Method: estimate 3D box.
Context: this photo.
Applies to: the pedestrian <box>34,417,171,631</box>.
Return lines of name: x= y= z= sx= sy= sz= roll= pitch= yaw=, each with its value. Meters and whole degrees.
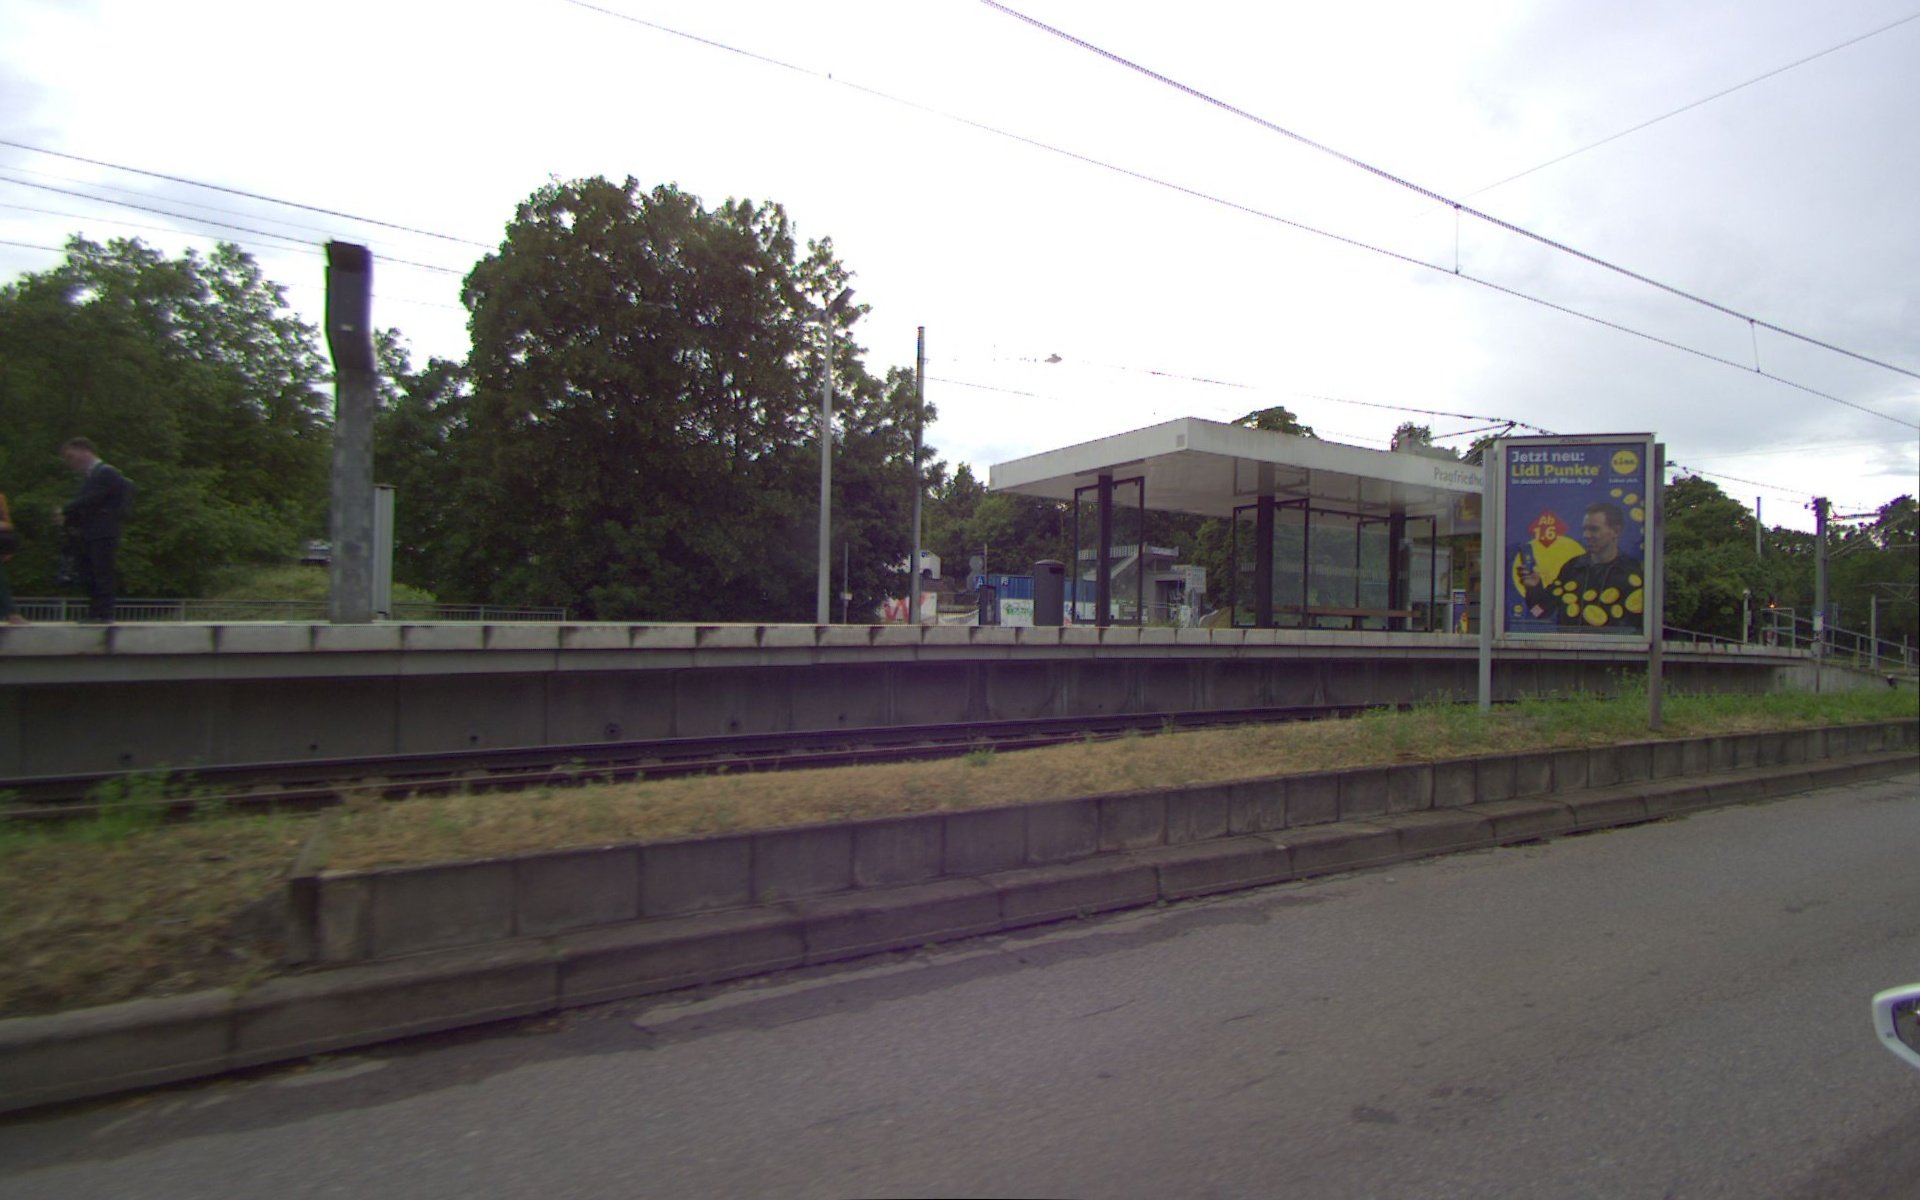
pedestrian: x=-8.267 y=-0.703 z=9.695 sx=0.734 sy=1.935 sz=0.838 roll=2 pitch=2 yaw=38

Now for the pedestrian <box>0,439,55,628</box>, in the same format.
pedestrian: x=-8.864 y=-0.588 z=9.040 sx=0.785 sy=1.669 sz=0.915 roll=1 pitch=2 yaw=38
